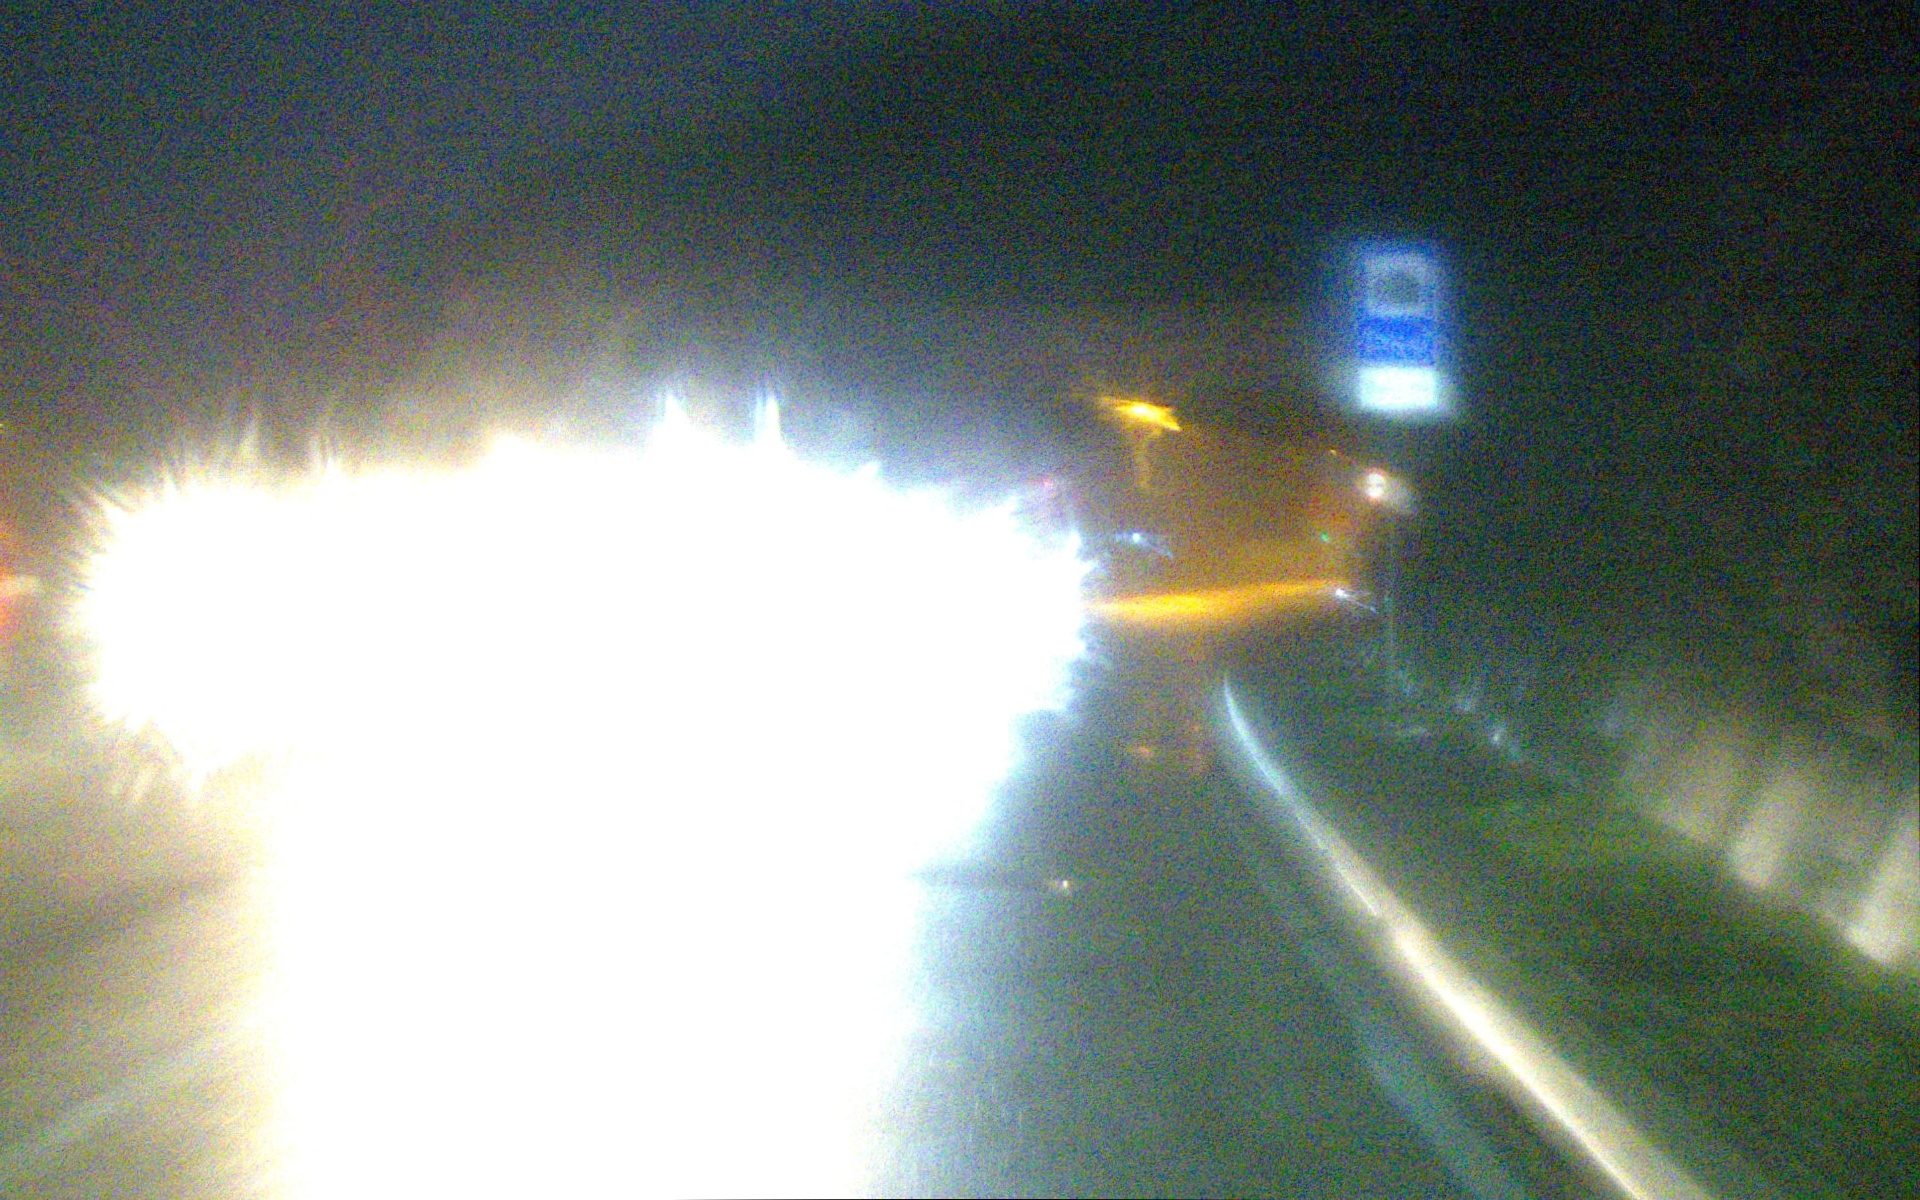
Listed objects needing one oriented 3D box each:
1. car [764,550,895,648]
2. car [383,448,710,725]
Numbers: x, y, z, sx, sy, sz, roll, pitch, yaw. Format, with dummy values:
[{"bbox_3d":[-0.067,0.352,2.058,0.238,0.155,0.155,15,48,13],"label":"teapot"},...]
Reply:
[{"bbox_3d":[-1.906,-0.035,51.192,1.591,1.375,4.325,1,1,2],"label":"car"},{"bbox_3d":[-3.229,-0.153,27.789,1.891,1.996,4.880,1,1,1],"label":"car"}]
